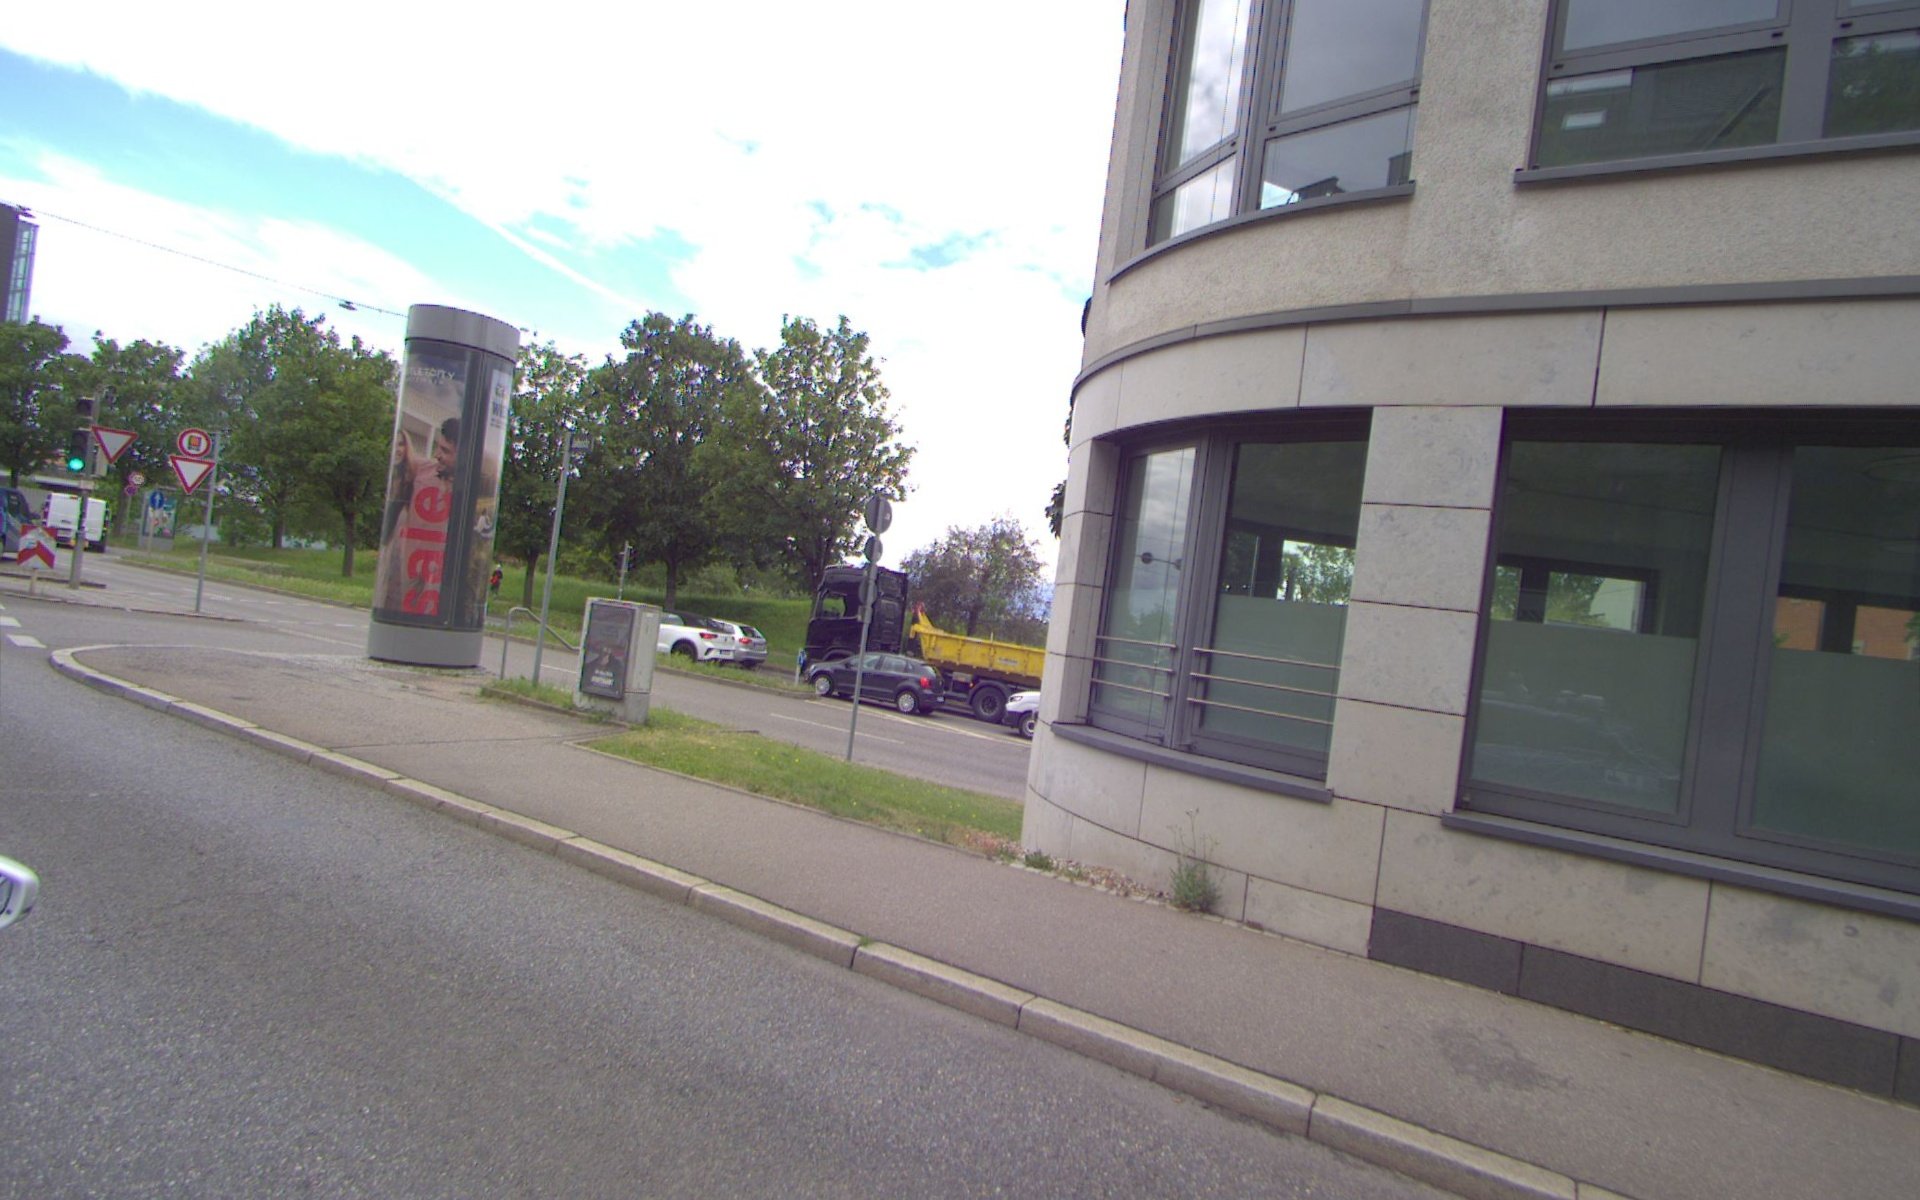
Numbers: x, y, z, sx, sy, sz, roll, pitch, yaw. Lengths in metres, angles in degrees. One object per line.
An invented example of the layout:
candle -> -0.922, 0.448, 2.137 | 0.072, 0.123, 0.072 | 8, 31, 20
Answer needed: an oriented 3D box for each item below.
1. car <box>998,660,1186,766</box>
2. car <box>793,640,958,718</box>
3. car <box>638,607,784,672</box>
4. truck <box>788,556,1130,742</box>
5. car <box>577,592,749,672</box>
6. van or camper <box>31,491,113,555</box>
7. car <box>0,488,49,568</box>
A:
car -> 3.297, 2.753, 25.001 | 4.206, 1.817, 1.758 | 9, -2, 17
car -> -2.239, 2.109, 26.894 | 3.903, 1.389, 1.656 | 8, -2, 19
car -> -8.118, 1.294, 32.917 | 4.081, 1.458, 1.992 | 8, -2, 19
truck -> -0.043, 1.365, 29.721 | 9.280, 3.969, 2.832 | 8, -2, 18
car -> -8.653, 0.937, 29.353 | 4.404, 1.547, 1.858 | 9, -2, 19
van or camper -> -33.033, -2.894, 37.469 | 1.988, 1.940, 4.356 | 9, -2, -42
car -> -24.362, -1.894, 24.700 | 1.890, 1.880, 4.671 | 9, -3, -31
